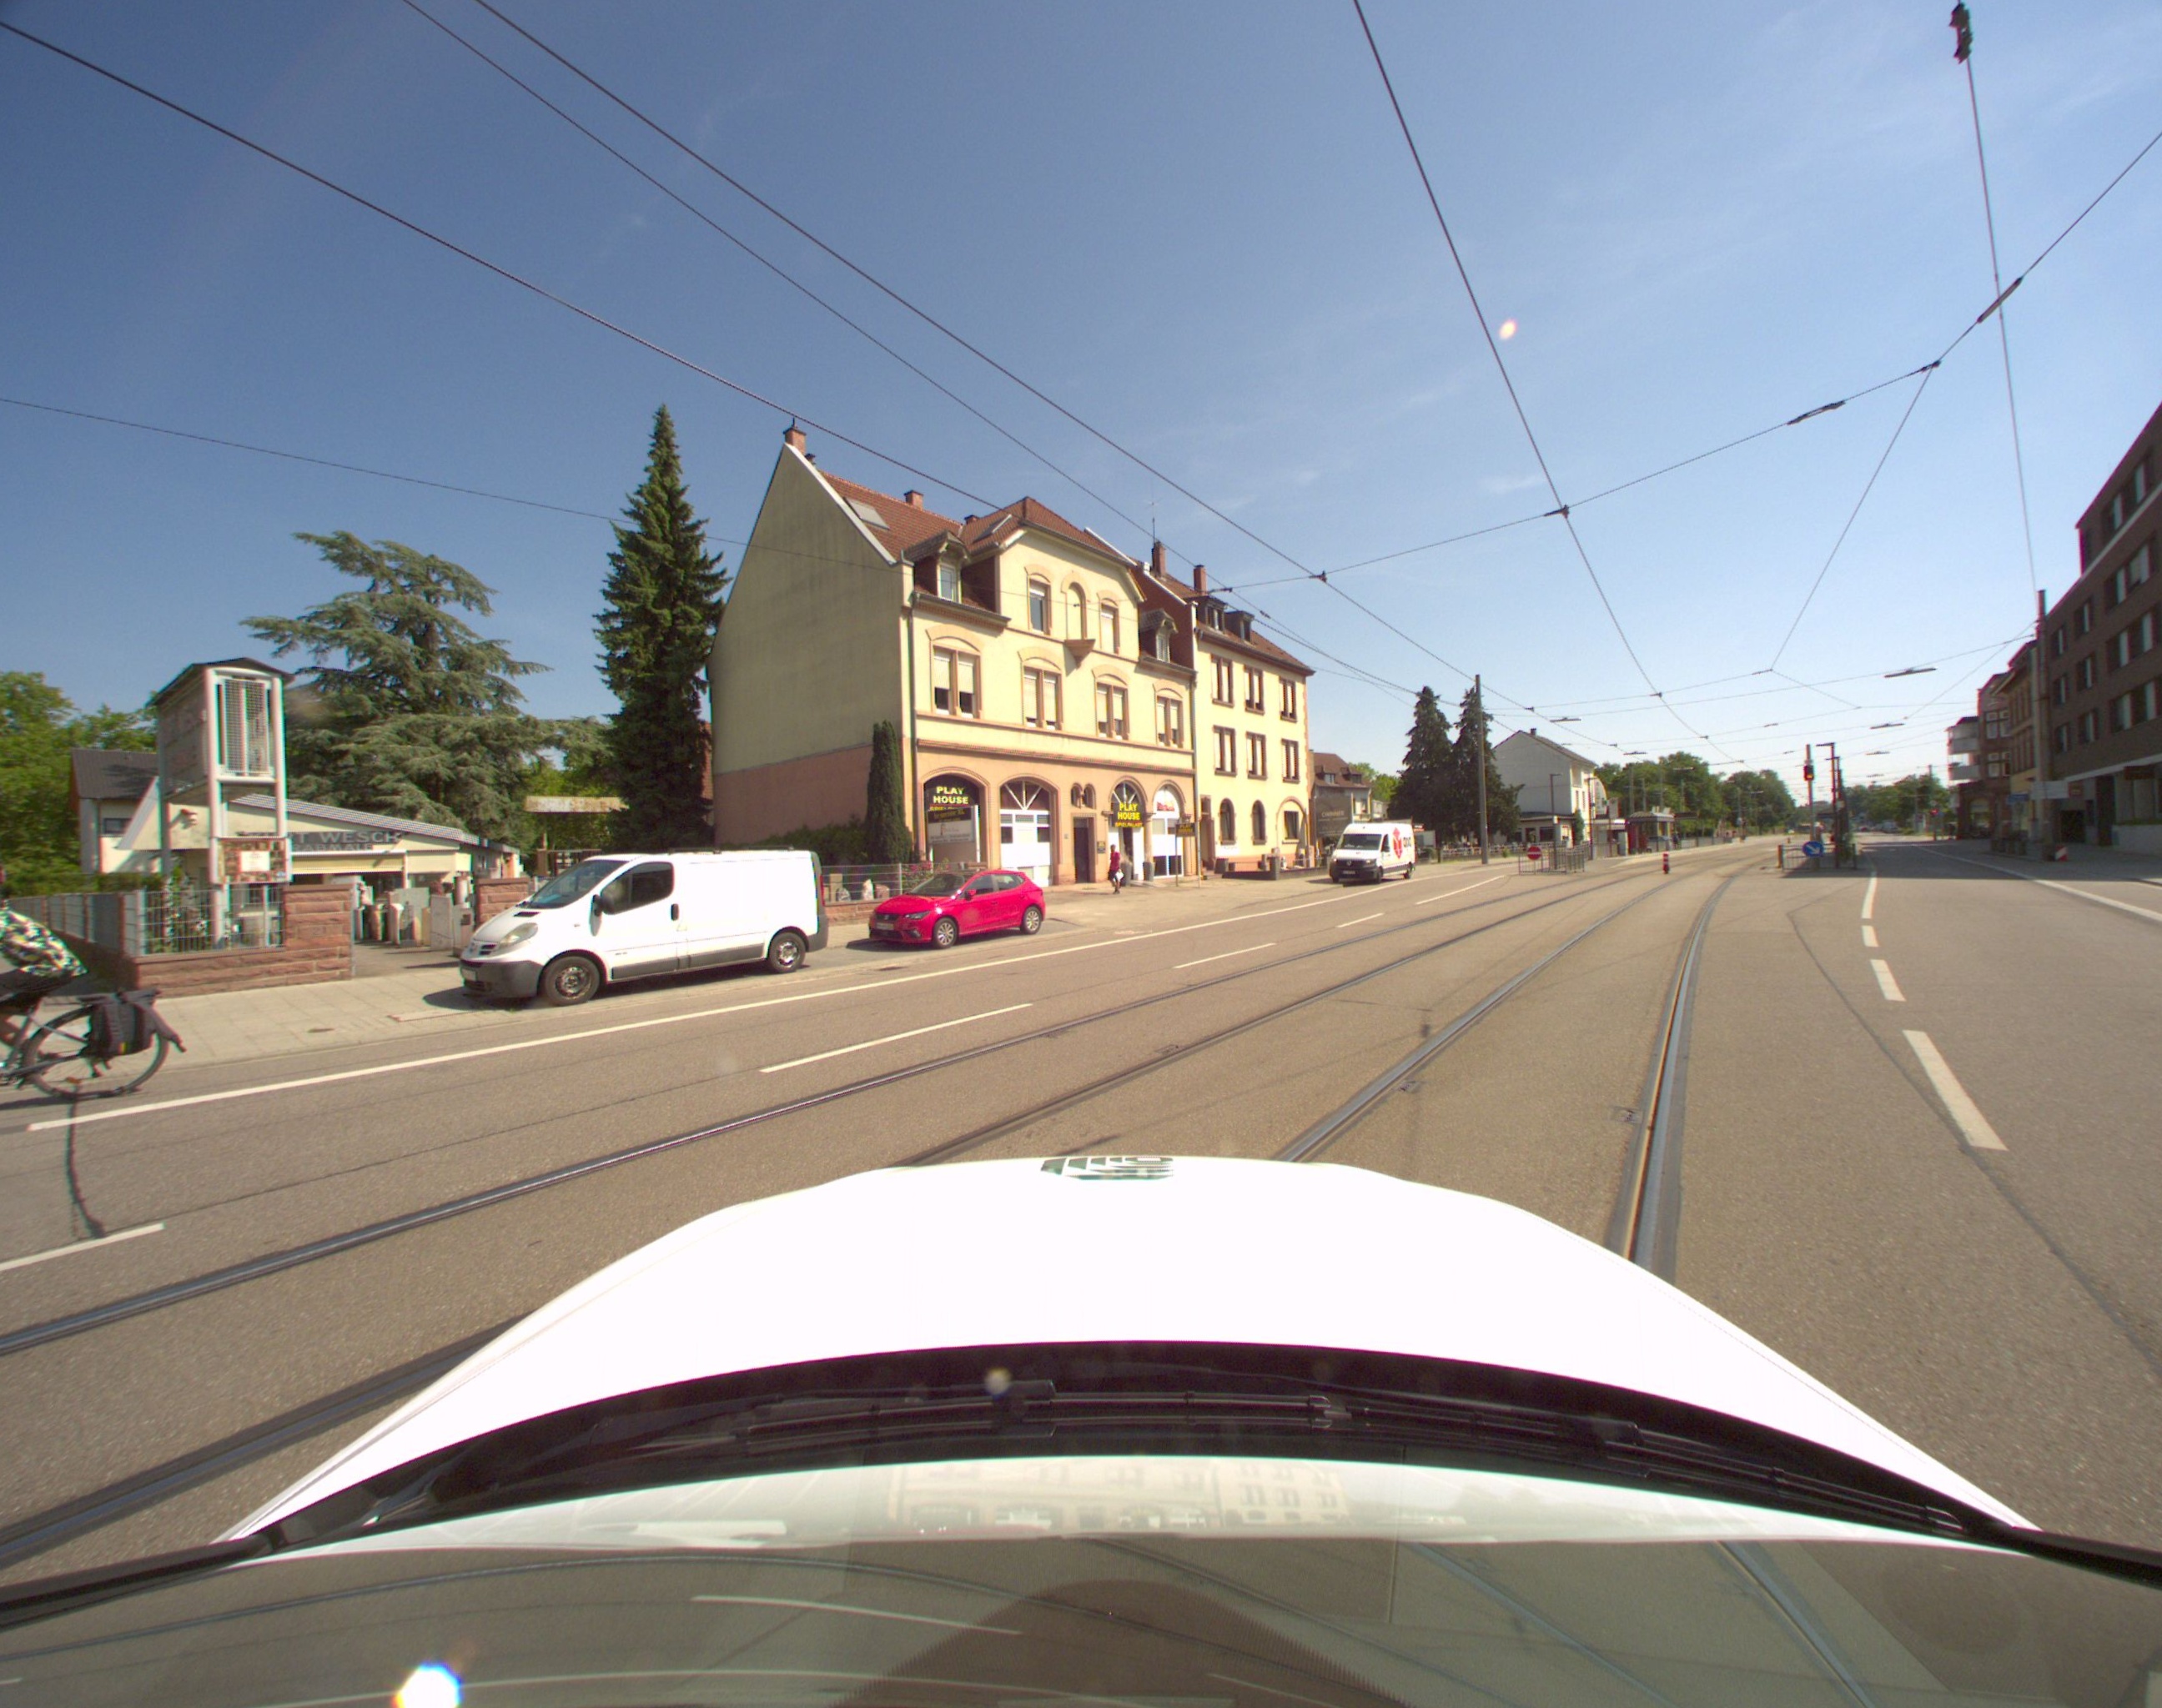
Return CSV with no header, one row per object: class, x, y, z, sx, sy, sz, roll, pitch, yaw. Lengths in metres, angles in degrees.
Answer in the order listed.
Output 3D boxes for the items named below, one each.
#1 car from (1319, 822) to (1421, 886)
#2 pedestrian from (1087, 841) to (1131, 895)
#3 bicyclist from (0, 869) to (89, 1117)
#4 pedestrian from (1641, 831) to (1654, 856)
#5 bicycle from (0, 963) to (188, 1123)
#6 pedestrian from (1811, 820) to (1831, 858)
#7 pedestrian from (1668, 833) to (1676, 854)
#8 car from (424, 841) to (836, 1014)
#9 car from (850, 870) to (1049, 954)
car,12.810,-0.062,35.727,2.307,2.535,6.548,0,1,37
pedestrian,0.953,0.480,28.114,1.134,1.815,0.935,-2,0,-33
bicyclist,-7.961,0.999,5.844,0.709,1.724,0.994,-3,-1,43
pedestrian,39.739,-0.738,57.142,0.698,1.690,0.419,-3,-1,36
bicycle,-7.996,1.415,5.801,0.603,0.984,2.177,-3,-1,44
pedestrian,34.942,-0.719,38.464,0.550,1.760,0.798,-3,-1,37
pedestrian,47.147,-0.826,64.955,0.411,1.690,0.712,-3,-1,30
car,-6.423,0.857,12.199,2.063,2.013,4.940,-2,0,38
car,-2.613,1.121,17.029,1.703,1.406,4.027,-3,-1,37
